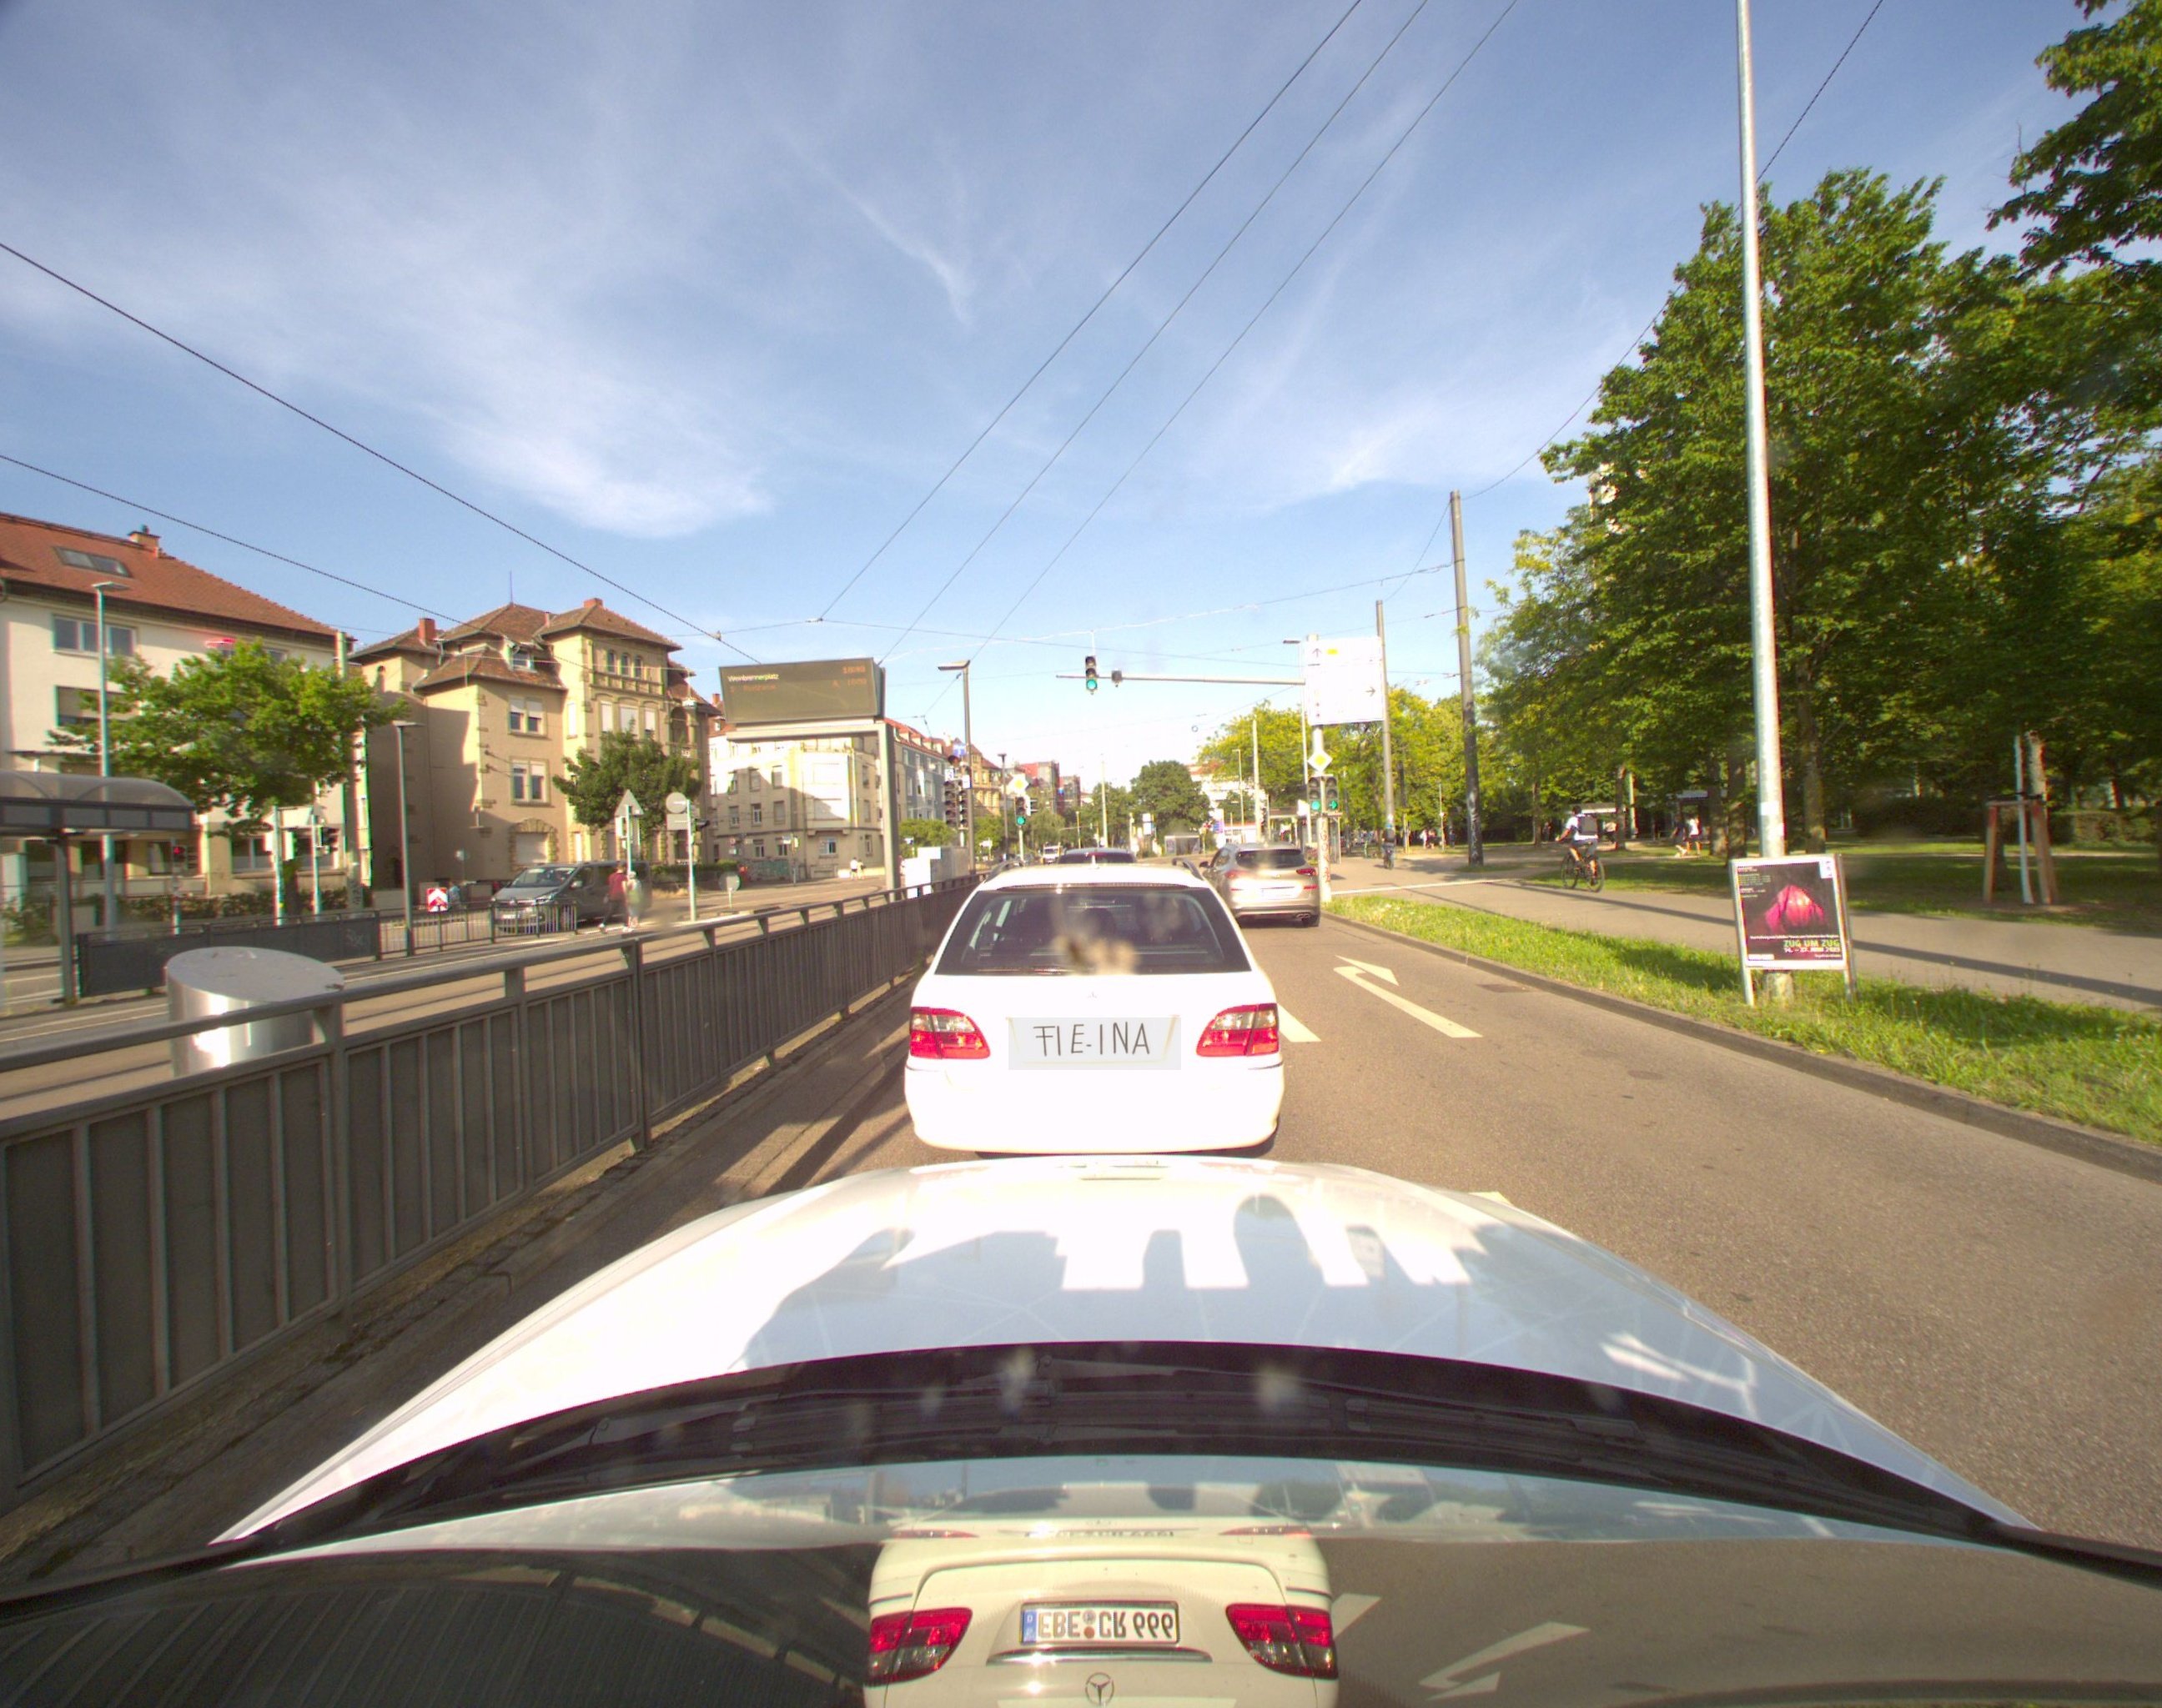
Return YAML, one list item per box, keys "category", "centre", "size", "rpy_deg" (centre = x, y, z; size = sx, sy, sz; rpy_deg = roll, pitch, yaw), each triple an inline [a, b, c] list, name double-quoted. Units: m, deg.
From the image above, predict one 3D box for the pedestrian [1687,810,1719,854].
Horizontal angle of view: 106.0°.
- category: "pedestrian"
  centre: [27.000, -0.944, 35.360]
  size: [0.671, 1.897, 0.877]
  rpy_deg: [0, 0, -9]

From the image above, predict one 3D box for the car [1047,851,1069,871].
- category: "car"
  centre: [-2.814, 0.793, 99.586]
  size: [2.168, 2.239, 5.257]
  rpy_deg: [-3, 0, 2]

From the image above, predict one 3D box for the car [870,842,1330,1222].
- category: "car"
  centre: [0.134, 0.713, 5.196]
  size: [1.828, 1.501, 3.817]
  rpy_deg: [-1, 0, 2]

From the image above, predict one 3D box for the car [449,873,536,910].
- category: "car"
  centre: [-29.342, 1.882, 40.615]
  size: [3.950, 1.632, 1.787]
  rpy_deg: [-3, 1, 26]

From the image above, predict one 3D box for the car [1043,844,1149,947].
- category: "car"
  centre: [0.296, 0.655, 14.796]
  size: [1.635, 1.600, 3.817]
  rpy_deg: [-1, 0, 2]

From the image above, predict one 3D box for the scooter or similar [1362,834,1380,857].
- category: "scooter or similar"
  centre: [16.112, -0.444, 45.230]
  size: [0.351, 1.232, 1.131]
  rpy_deg: [-3, 0, -12]

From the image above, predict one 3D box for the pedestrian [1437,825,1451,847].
- category: "pedestrian"
  centre: [27.664, -1.347, 62.081]
  size: [0.638, 1.665, 0.691]
  rpy_deg: [-3, 0, 1]

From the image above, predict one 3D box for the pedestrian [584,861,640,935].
- category: "pedestrian"
  centre: [-11.037, 1.023, 19.192]
  size: [0.666, 1.670, 0.885]
  rpy_deg: [-3, 0, 6]

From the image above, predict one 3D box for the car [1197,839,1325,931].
- category: "car"
  centre: [3.471, 0.540, 16.431]
  size: [1.828, 1.600, 3.817]
  rpy_deg: [-1, 0, 2]

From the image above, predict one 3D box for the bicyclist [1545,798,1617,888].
- category: "bicyclist"
  centre: [10.431, -0.222, 17.029]
  size: [0.647, 1.745, 1.140]
  rpy_deg: [-6, 0, 1]

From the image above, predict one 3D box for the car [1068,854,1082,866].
- category: "car"
  centre: [-0.823, 0.892, 117.069]
  size: [1.760, 1.494, 4.746]
  rpy_deg: [-3, 2, 1]

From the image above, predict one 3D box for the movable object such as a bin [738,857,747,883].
- category: "movable object such as a bin"
  centre: [-23.596, 1.114, 56.775]
  size: [0.265, 1.709, 2.360]
  rpy_deg: [-3, 0, -29]

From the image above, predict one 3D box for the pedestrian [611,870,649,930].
- category: "pedestrian"
  centre: [-12.496, 1.262, 22.599]
  size: [0.588, 1.589, 0.715]
  rpy_deg: [-3, 0, -2]

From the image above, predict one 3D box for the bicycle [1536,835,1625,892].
- category: "bicycle"
  centre: [10.481, 0.188, 17.181]
  size: [0.638, 1.088, 1.940]
  rpy_deg: [-5, 0, 1]

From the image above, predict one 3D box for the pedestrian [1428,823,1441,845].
- category: "pedestrian"
  centre: [27.439, -1.532, 63.261]
  size: [0.638, 1.665, 0.691]
  rpy_deg: [-3, 0, 1]

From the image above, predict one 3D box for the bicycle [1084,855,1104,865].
- category: "bicycle"
  centre: [1.428, 0.688, 90.901]
  size: [2.000, 0.947, 0.884]
  rpy_deg: [-3, 0, 21]

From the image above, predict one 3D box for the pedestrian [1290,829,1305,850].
- category: "pedestrian"
  centre: [20.778, -1.379, 78.009]
  size: [0.832, 2.013, 0.987]
  rpy_deg: [-3, 0, -38]

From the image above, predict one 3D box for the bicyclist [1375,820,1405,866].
- category: "bicyclist"
  centre: [12.502, -0.440, 33.012]
  size: [0.716, 1.745, 1.142]
  rpy_deg: [-6, 0, 5]

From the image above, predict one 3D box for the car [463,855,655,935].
- category: "car"
  centre: [-15.608, 1.120, 24.835]
  size: [2.137, 2.013, 5.390]
  rpy_deg: [-3, 0, 2]

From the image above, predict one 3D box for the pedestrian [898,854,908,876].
- category: "pedestrian"
  centre: [-15.394, 0.972, 70.428]
  size: [0.582, 1.880, 0.626]
  rpy_deg: [-3, 1, -1]

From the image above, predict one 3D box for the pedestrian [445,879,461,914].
- category: "pedestrian"
  centre: [-27.838, 1.903, 36.088]
  size: [0.400, 1.515, 0.392]
  rpy_deg: [-3, 0, 28]

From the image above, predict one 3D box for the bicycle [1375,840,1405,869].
- category: "bicycle"
  centre: [12.533, 0.006, 33.040]
  size: [0.637, 1.088, 1.736]
  rpy_deg: [-5, 0, 6]

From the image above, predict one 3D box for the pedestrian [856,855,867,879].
- category: "pedestrian"
  centre: [-17.904, 1.059, 66.410]
  size: [0.672, 1.848, 0.649]
  rpy_deg: [-3, 0, -1]

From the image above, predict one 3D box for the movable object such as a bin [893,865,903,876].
- category: "movable object such as a bin"
  centre: [-16.025, 1.437, 71.321]
  size: [0.580, 0.947, 0.664]
  rpy_deg: [-3, 0, 4]

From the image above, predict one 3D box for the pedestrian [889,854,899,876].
- category: "pedestrian"
  centre: [-16.114, 0.959, 70.139]
  size: [0.582, 1.881, 0.627]
  rpy_deg: [-3, 0, 1]

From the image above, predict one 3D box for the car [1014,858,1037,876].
- category: "car"
  centre: [-5.539, 1.303, 81.551]
  size: [1.670, 1.525, 4.128]
  rpy_deg: [-3, 1, 3]

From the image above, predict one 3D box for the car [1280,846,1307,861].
- category: "car"
  centre: [24.617, -0.056, 94.174]
  size: [1.835, 1.515, 4.026]
  rpy_deg: [-4, 0, 32]

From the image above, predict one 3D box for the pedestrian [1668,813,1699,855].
- category: "pedestrian"
  centre: [25.922, -0.850, 35.031]
  size: [0.670, 1.777, 0.878]
  rpy_deg: [-1, 0, -5]

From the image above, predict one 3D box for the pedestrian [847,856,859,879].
- category: "pedestrian"
  centre: [-18.680, 1.116, 66.747]
  size: [0.653, 1.881, 0.629]
  rpy_deg: [-3, 0, 16]

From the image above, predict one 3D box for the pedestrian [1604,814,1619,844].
- category: "pedestrian"
  centre: [33.904, -1.587, 52.047]
  size: [0.463, 1.868, 0.600]
  rpy_deg: [0, -1, -29]

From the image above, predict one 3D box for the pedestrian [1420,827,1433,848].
- category: "pedestrian"
  centre: [27.195, -1.332, 64.115]
  size: [0.638, 1.610, 0.691]
  rpy_deg: [-3, 0, 1]
